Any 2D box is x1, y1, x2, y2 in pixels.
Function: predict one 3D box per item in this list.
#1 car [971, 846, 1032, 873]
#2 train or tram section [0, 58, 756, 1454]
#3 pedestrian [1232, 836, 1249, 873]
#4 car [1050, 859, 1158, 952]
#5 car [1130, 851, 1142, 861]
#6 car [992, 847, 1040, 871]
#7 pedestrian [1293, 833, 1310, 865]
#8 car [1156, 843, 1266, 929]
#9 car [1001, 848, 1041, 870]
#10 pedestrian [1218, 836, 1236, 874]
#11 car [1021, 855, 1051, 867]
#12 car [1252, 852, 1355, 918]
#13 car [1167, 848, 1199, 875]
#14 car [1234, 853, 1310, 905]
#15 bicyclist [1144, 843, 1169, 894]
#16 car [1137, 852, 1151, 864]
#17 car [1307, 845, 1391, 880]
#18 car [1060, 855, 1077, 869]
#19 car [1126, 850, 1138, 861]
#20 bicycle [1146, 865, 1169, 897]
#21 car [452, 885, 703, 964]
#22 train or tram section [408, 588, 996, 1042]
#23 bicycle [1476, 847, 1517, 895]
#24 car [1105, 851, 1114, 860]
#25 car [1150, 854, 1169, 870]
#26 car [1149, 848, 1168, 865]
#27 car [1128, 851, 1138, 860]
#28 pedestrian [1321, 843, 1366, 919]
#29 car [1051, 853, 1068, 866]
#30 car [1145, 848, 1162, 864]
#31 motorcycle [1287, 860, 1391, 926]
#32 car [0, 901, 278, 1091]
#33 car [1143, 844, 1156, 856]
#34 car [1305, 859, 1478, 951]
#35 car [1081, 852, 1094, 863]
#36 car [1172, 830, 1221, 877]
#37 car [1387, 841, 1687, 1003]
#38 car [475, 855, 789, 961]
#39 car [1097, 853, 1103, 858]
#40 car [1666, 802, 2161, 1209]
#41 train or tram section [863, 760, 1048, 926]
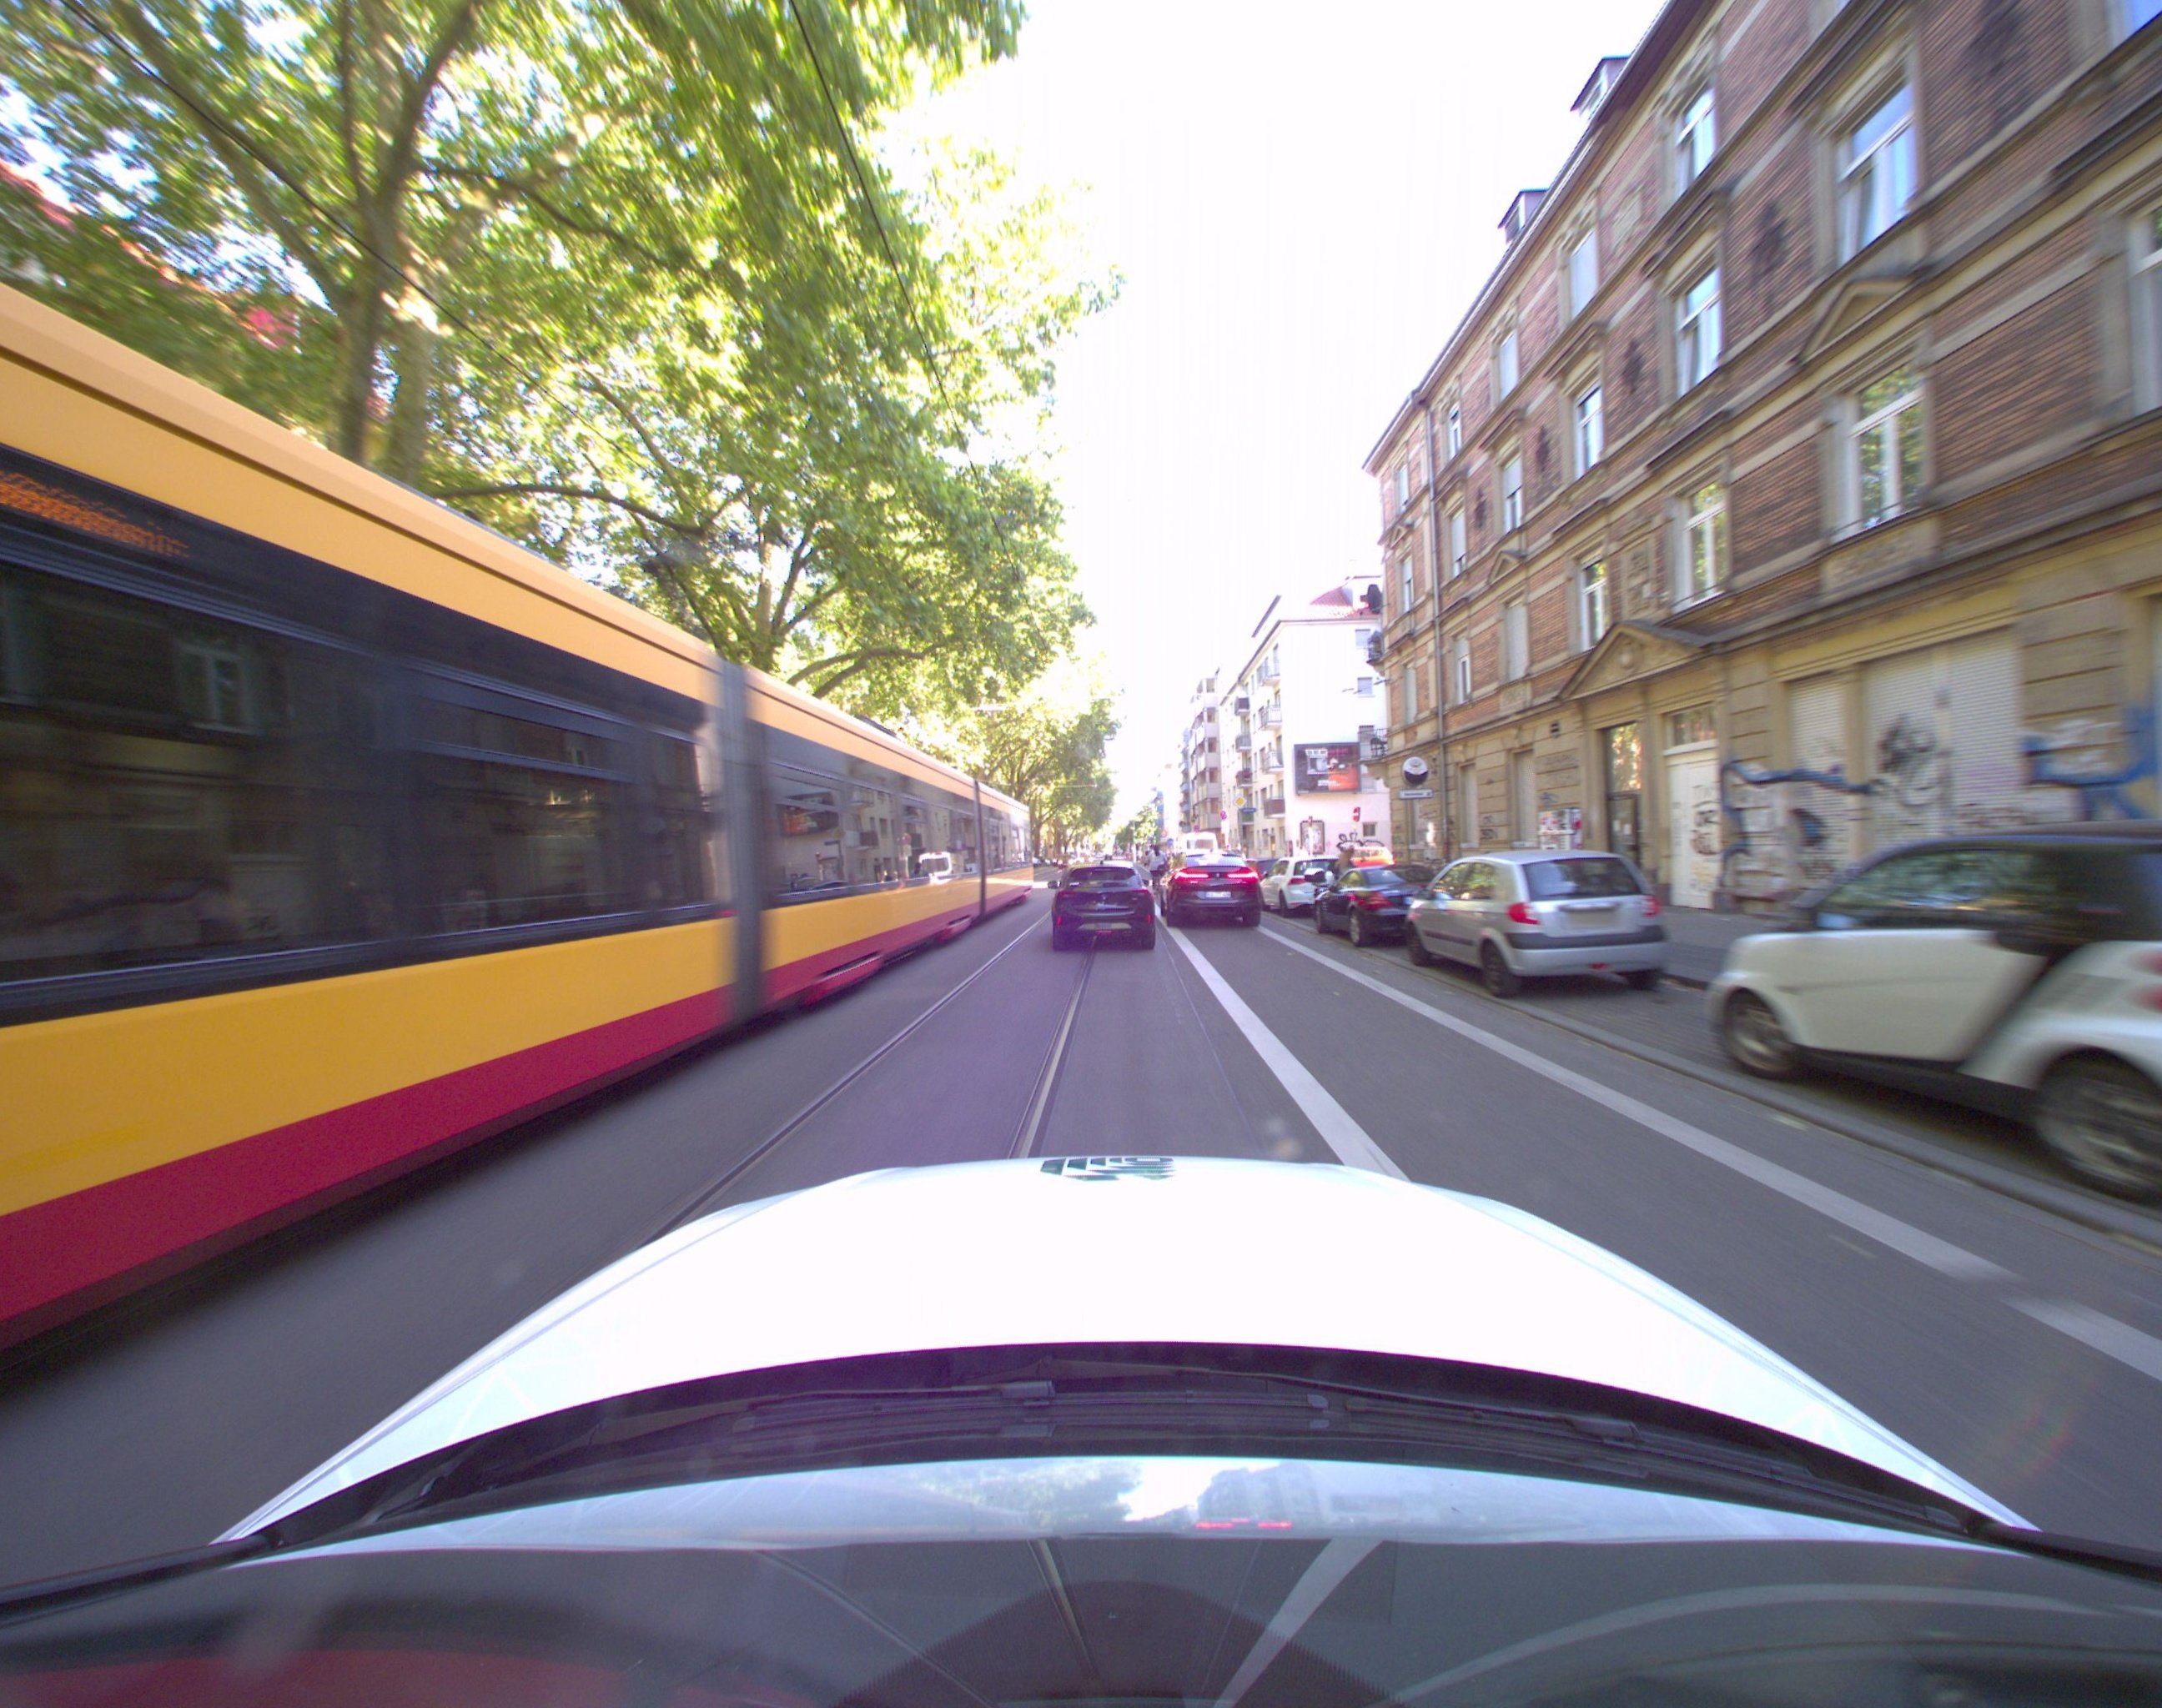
[{"bbox_3d":[-7.969,0.507,81.692,5.718,2.536,2.164,-2,0,2],"label":"car"},{"bbox_3d":[-4.379,-0.267,0.223,2.924,3.619,12.421,0,0,3],"label":"train or tram section"},{"bbox_3d":[8.025,0.040,41.036,0.622,1.822,1.083,-3,-1,4],"label":"pedestrian"},{"bbox_3d":[0.420,0.814,14.567,1.673,1.422,3.629,-1,0,2],"label":"car"},{"bbox_3d":[9.835,0.336,146.250,1.713,1.574,4.082,-2,0,-2],"label":"car"},{"bbox_3d":[-7.654,0.586,95.997,5.339,2.477,2.058,-2,0,2],"label":"car"},{"bbox_3d":[10.817,-0.240,40.050,0.629,1.580,0.934,0,-1,4],"label":"pedestrian"},{"bbox_3d":[2.854,0.656,18.890,1.937,1.704,4.632,-1,0,2],"label":"car"},{"bbox_3d":[-7.773,0.614,105.059,4.929,2.567,2.081,-2,0,-2],"label":"car"},{"bbox_3d":[7.350,0.050,41.075,0.706,1.822,1.083,-3,-1,4],"label":"pedestrian"},{"bbox_3d":[-6.403,0.988,116.191,3.973,1.522,1.771,-2,0,0],"label":"car"},{"bbox_3d":[5.553,0.718,20.778,1.596,1.420,4.015,-4,0,2],"label":"car"},{"bbox_3d":[7.167,0.504,57.716,1.851,1.820,4.354,-2,0,3],"label":"car"},{"bbox_3d":[6.034,0.745,26.187,1.642,1.420,4.064,-4,0,4],"label":"car"},{"bbox_3d":[2.673,0.522,28.991,0.783,1.759,0.915,-2,0,1],"label":"bicyclist"},{"bbox_3d":[8.918,0.562,115.338,1.850,1.651,4.004,-2,0,4],"label":"car"},{"bbox_3d":[13.055,0.418,39.864,3.630,1.574,1.794,-2,0,7],"label":"car"},{"bbox_3d":[-1.332,0.836,88.271,1.629,1.510,3.692,-1,0,0],"label":"car"},{"bbox_3d":[8.018,0.263,127.278,1.850,1.651,4.004,-2,0,4],"label":"car"},{"bbox_3d":[2.717,0.953,29.065,0.698,1.092,1.991,0,-1,2],"label":"bicycle"},{"bbox_3d":[-10.586,1.453,17.345,4.130,1.497,1.904,0,-1,0],"label":"car"},{"bbox_3d":[-3.656,-0.266,12.174,2.924,3.619,11.269,0,0,3],"label":"train or tram section"},{"bbox_3d":[10.593,0.418,20.804,0.376,1.154,1.374,-2,0,4],"label":"bicycle"},{"bbox_3d":[5.973,0.303,171.158,1.742,1.651,4.004,-2,0,4],"label":"car"},{"bbox_3d":[7.975,0.753,82.737,1.717,1.525,4.517,-2,0,4],"label":"car"},{"bbox_3d":[8.455,0.286,89.327,1.760,1.705,4.284,-2,0,1],"label":"car"},{"bbox_3d":[9.826,0.252,153.393,1.712,1.490,3.682,-2,0,1],"label":"car"},{"bbox_3d":[5.912,0.603,18.365,0.760,1.657,0.717,-2,0,2],"label":"pedestrian"},{"bbox_3d":[-3.007,0.741,113.738,1.986,1.700,4.487,-4,0,2],"label":"car"},{"bbox_3d":[8.765,0.233,98.172,1.850,1.890,4.929,-2,0,4],"label":"car"},{"bbox_3d":[5.542,0.817,17.462,2.141,1.289,0.639,-2,0,-20],"label":"motorcycle"},{"bbox_3d":[-10.574,1.251,7.752,4.042,1.445,1.870,0,1,2],"label":"car"},{"bbox_3d":[10.327,-0.570,122.614,1.850,1.651,4.004,-2,0,4],"label":"car"},{"bbox_3d":[5.242,0.790,14.284,1.643,1.272,3.726,-4,0,2],"label":"car"},{"bbox_3d":[0.949,0.562,118.378,1.712,1.510,3.723,-2,0,0],"label":"car"},{"bbox_3d":[6.643,-0.020,47.556,2.141,2.495,6.091,-2,0,2],"label":"car"},{"bbox_3d":[5.103,0.664,9.747,1.599,1.452,3.745,-4,0,4],"label":"car"},{"bbox_3d":[-10.848,1.278,19.991,6.576,2.407,2.001,0,0,2],"label":"car"},{"bbox_3d":[5.279,0.347,230.211,1.673,1.422,3.629,-1,0,2],"label":"car"},{"bbox_3d":[5.000,0.568,4.455,1.505,1.542,2.822,-6,0,2],"label":"car"},{"bbox_3d":[-2.981,-0.189,23.356,2.924,3.619,11.072,0,0,3],"label":"train or tram section"}]
